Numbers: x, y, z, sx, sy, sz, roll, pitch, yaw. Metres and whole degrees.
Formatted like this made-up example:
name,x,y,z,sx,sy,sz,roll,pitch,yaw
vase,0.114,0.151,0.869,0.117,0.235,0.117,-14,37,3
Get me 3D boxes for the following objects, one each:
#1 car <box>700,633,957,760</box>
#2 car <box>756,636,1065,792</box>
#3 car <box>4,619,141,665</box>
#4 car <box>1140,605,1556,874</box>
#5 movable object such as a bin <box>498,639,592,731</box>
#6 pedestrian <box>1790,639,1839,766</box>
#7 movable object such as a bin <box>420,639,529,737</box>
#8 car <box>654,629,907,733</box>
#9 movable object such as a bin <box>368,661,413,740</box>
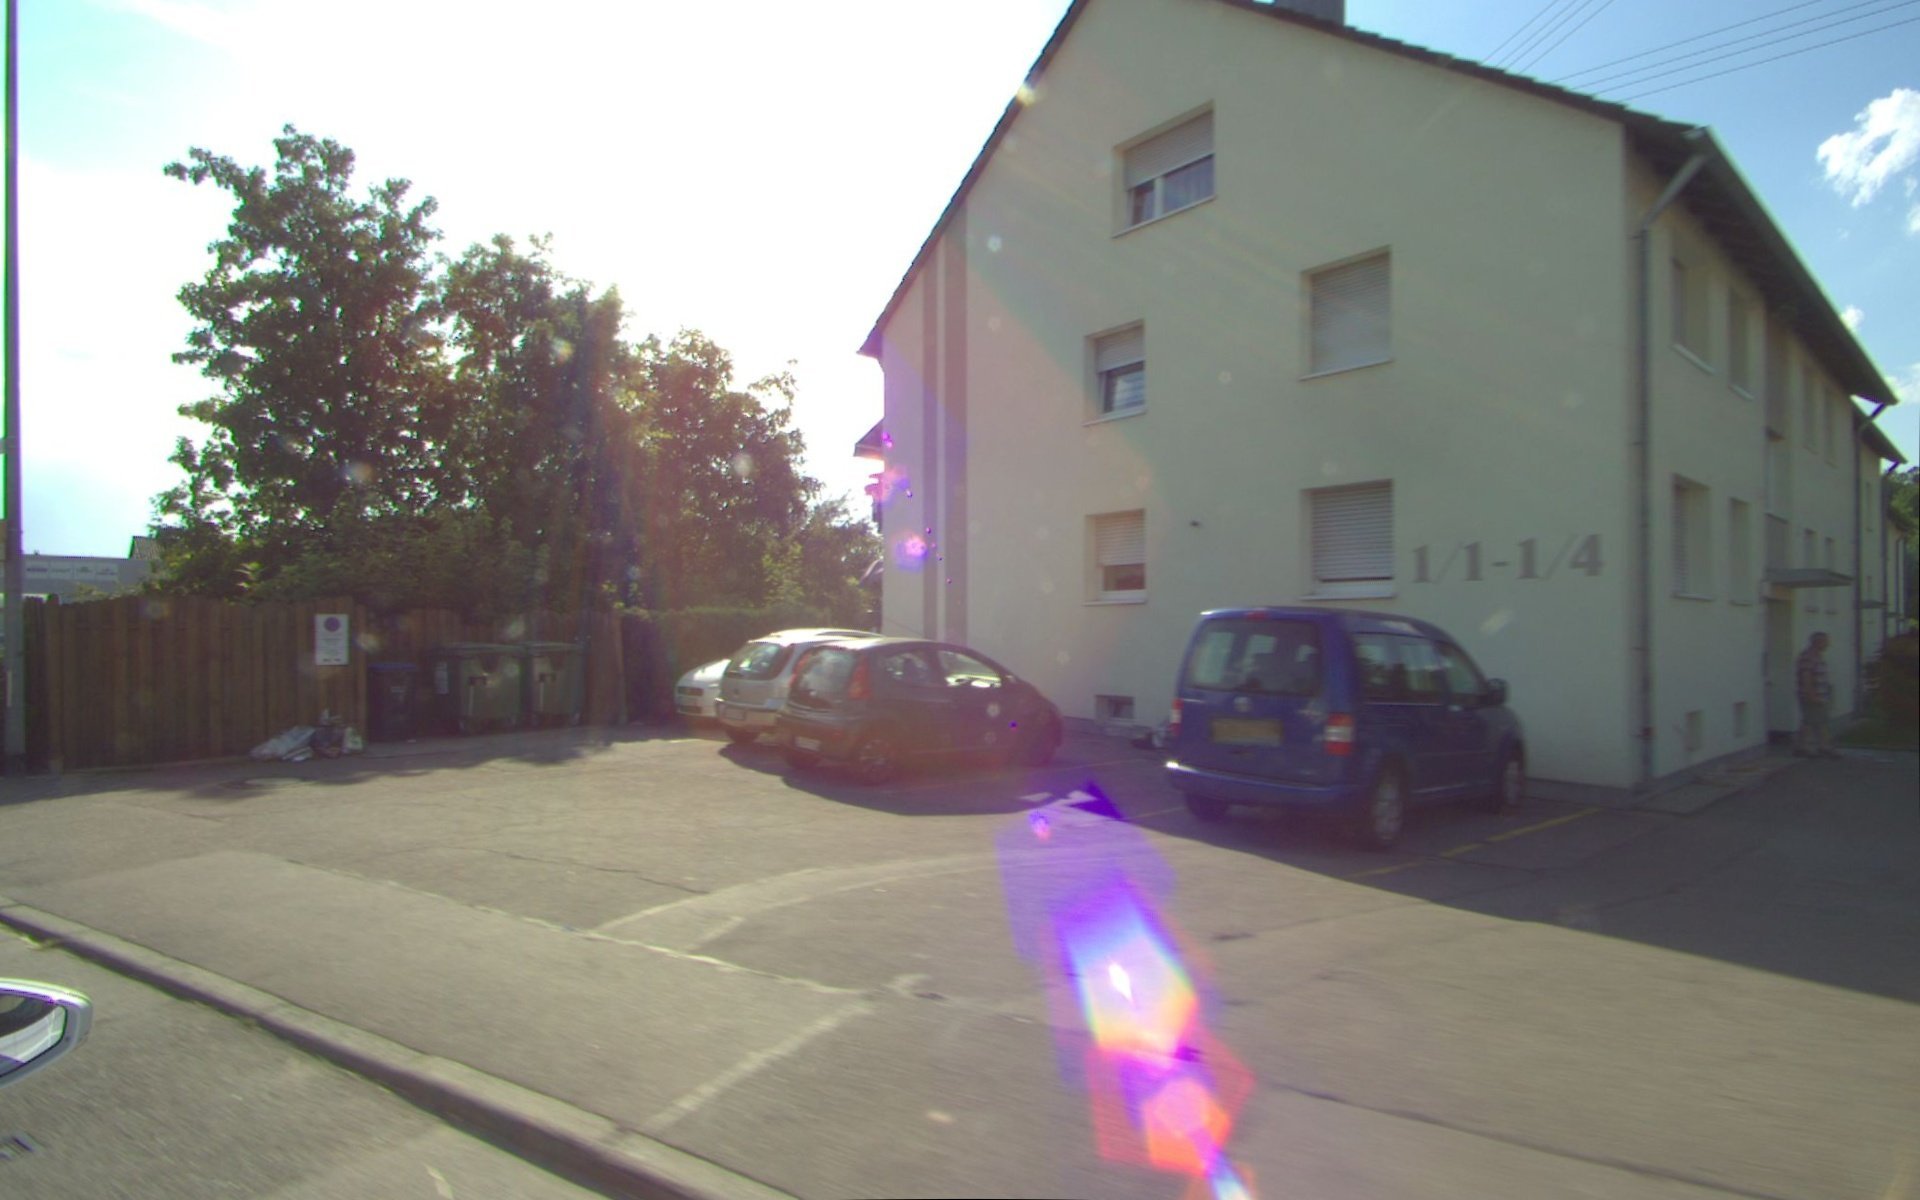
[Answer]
name,x,y,z,sx,sy,sz,roll,pitch,yaw
car,-1.717,1.211,13.521,3.105,1.469,1.562,2,-1,-42
car,-0.500,1.185,11.435,3.185,1.469,1.635,2,-1,-41
car,-29.989,1.383,33.972,3.410,1.435,1.486,0,-1,-41
car,3.645,1.041,9.022,4.172,1.811,1.750,2,1,-42
movable object such as a bin,-6.512,1.306,15.729,0.993,1.354,1.035,1,-1,44
pedestrian,11.916,1.408,13.962,0.530,1.727,0.409,0,0,-38
movable object such as a bin,-7.186,1.303,14.820,1.036,1.352,1.145,-8,-7,43
car,-2.802,1.225,16.071,3.717,1.469,1.621,2,-2,-42
movable object such as a bin,-7.966,1.396,14.006,0.437,1.058,0.429,1,-1,44
